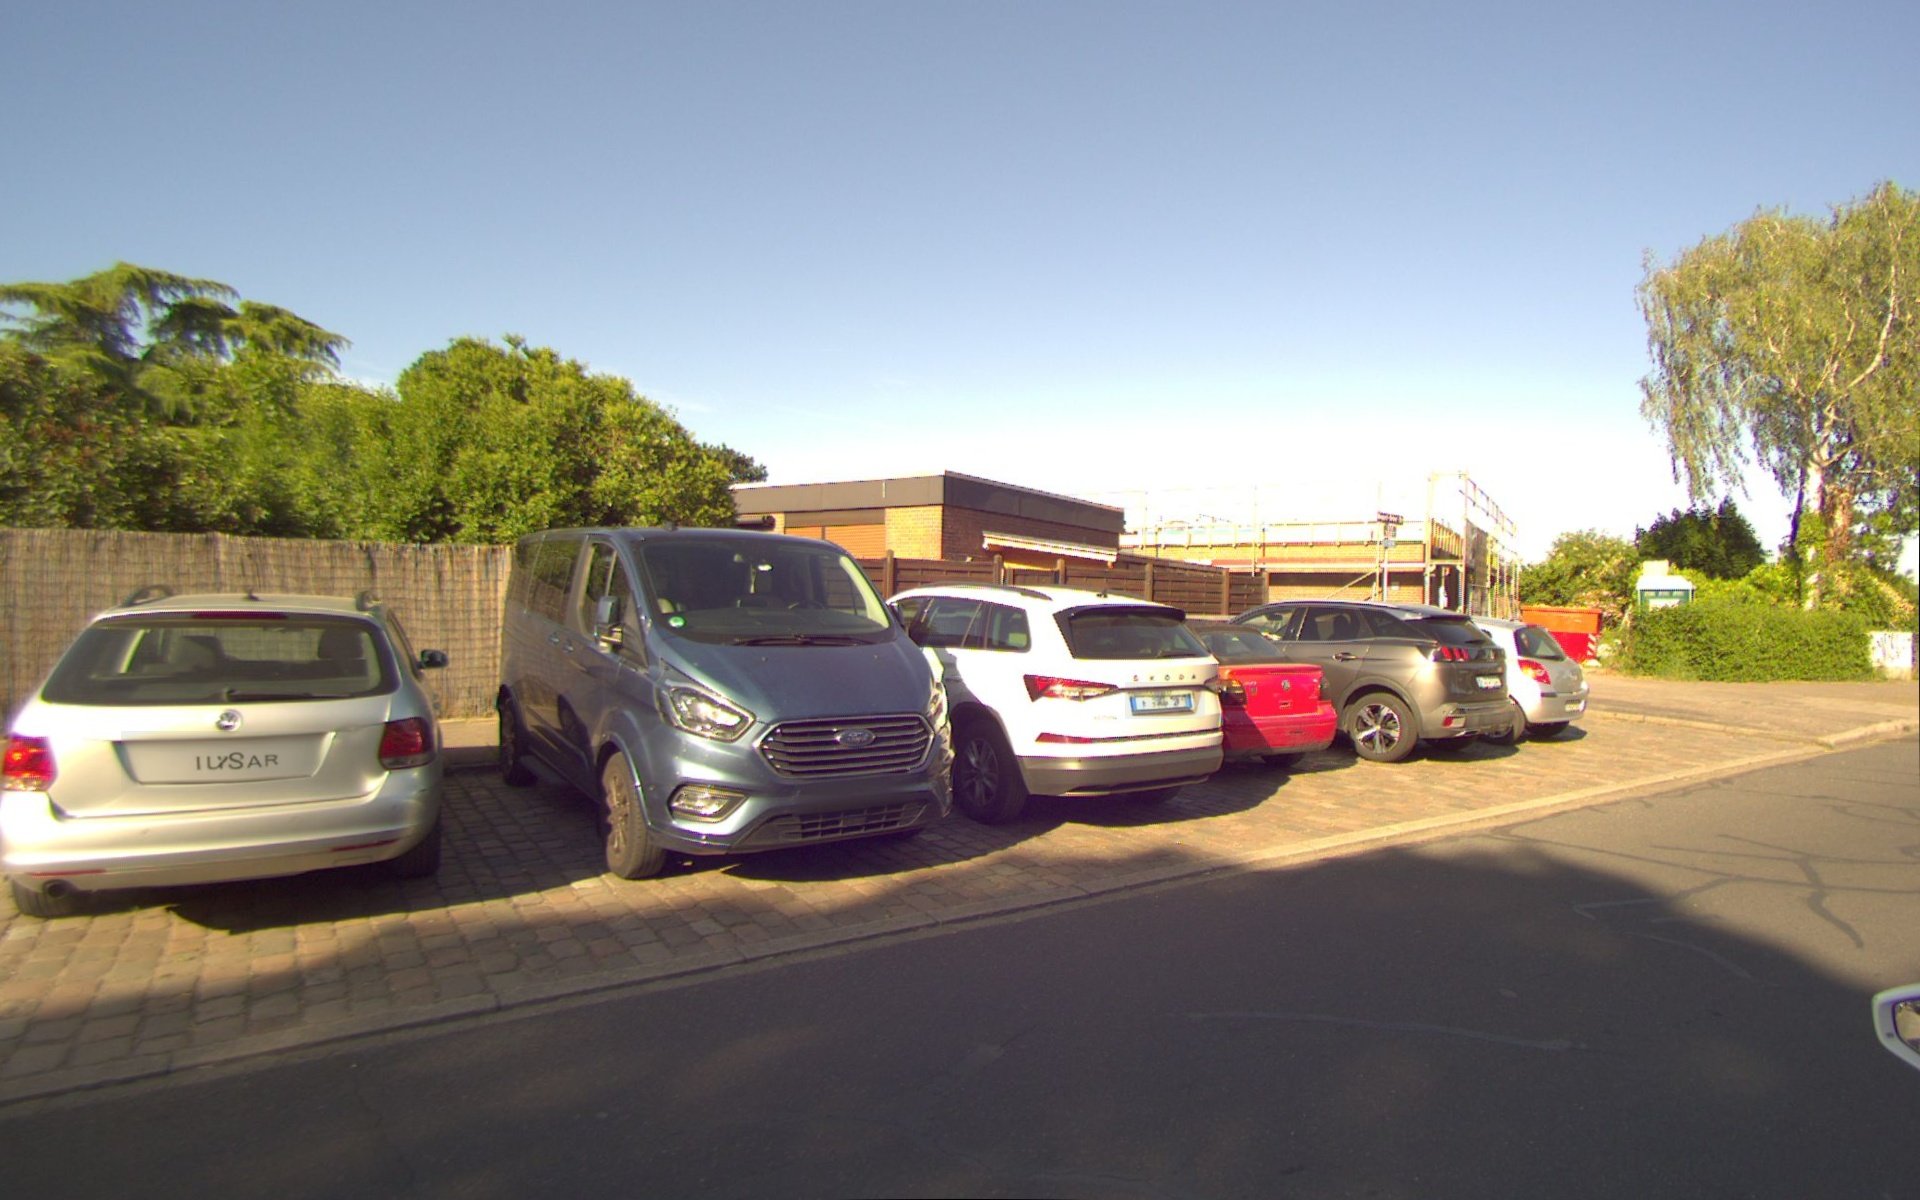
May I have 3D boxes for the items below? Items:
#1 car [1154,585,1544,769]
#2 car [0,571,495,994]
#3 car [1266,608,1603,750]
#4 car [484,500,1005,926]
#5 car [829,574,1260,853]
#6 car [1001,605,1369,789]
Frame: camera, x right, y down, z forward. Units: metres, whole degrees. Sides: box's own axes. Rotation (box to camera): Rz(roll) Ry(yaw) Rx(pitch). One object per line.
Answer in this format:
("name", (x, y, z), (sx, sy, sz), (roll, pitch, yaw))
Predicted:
("car", (4.298, 0.732, 11.747), (1.797, 1.634, 3.968), (2, 2, -30))
("car", (-4.006, 0.657, 5.889), (1.903, 1.512, 4.116), (2, 1, -31))
("car", (6.103, 0.919, 13.244), (1.620, 1.478, 3.656), (1, 1, -39))
("car", (-1.914, 0.493, 7.160), (1.979, 1.941, 4.842), (1, 0, -34))
("car", (0.435, 0.676, 8.125), (1.712, 1.628, 3.595), (2, 2, -29))
("car", (2.108, 0.843, 10.364), (1.712, 1.362, 3.595), (2, 2, -29))
